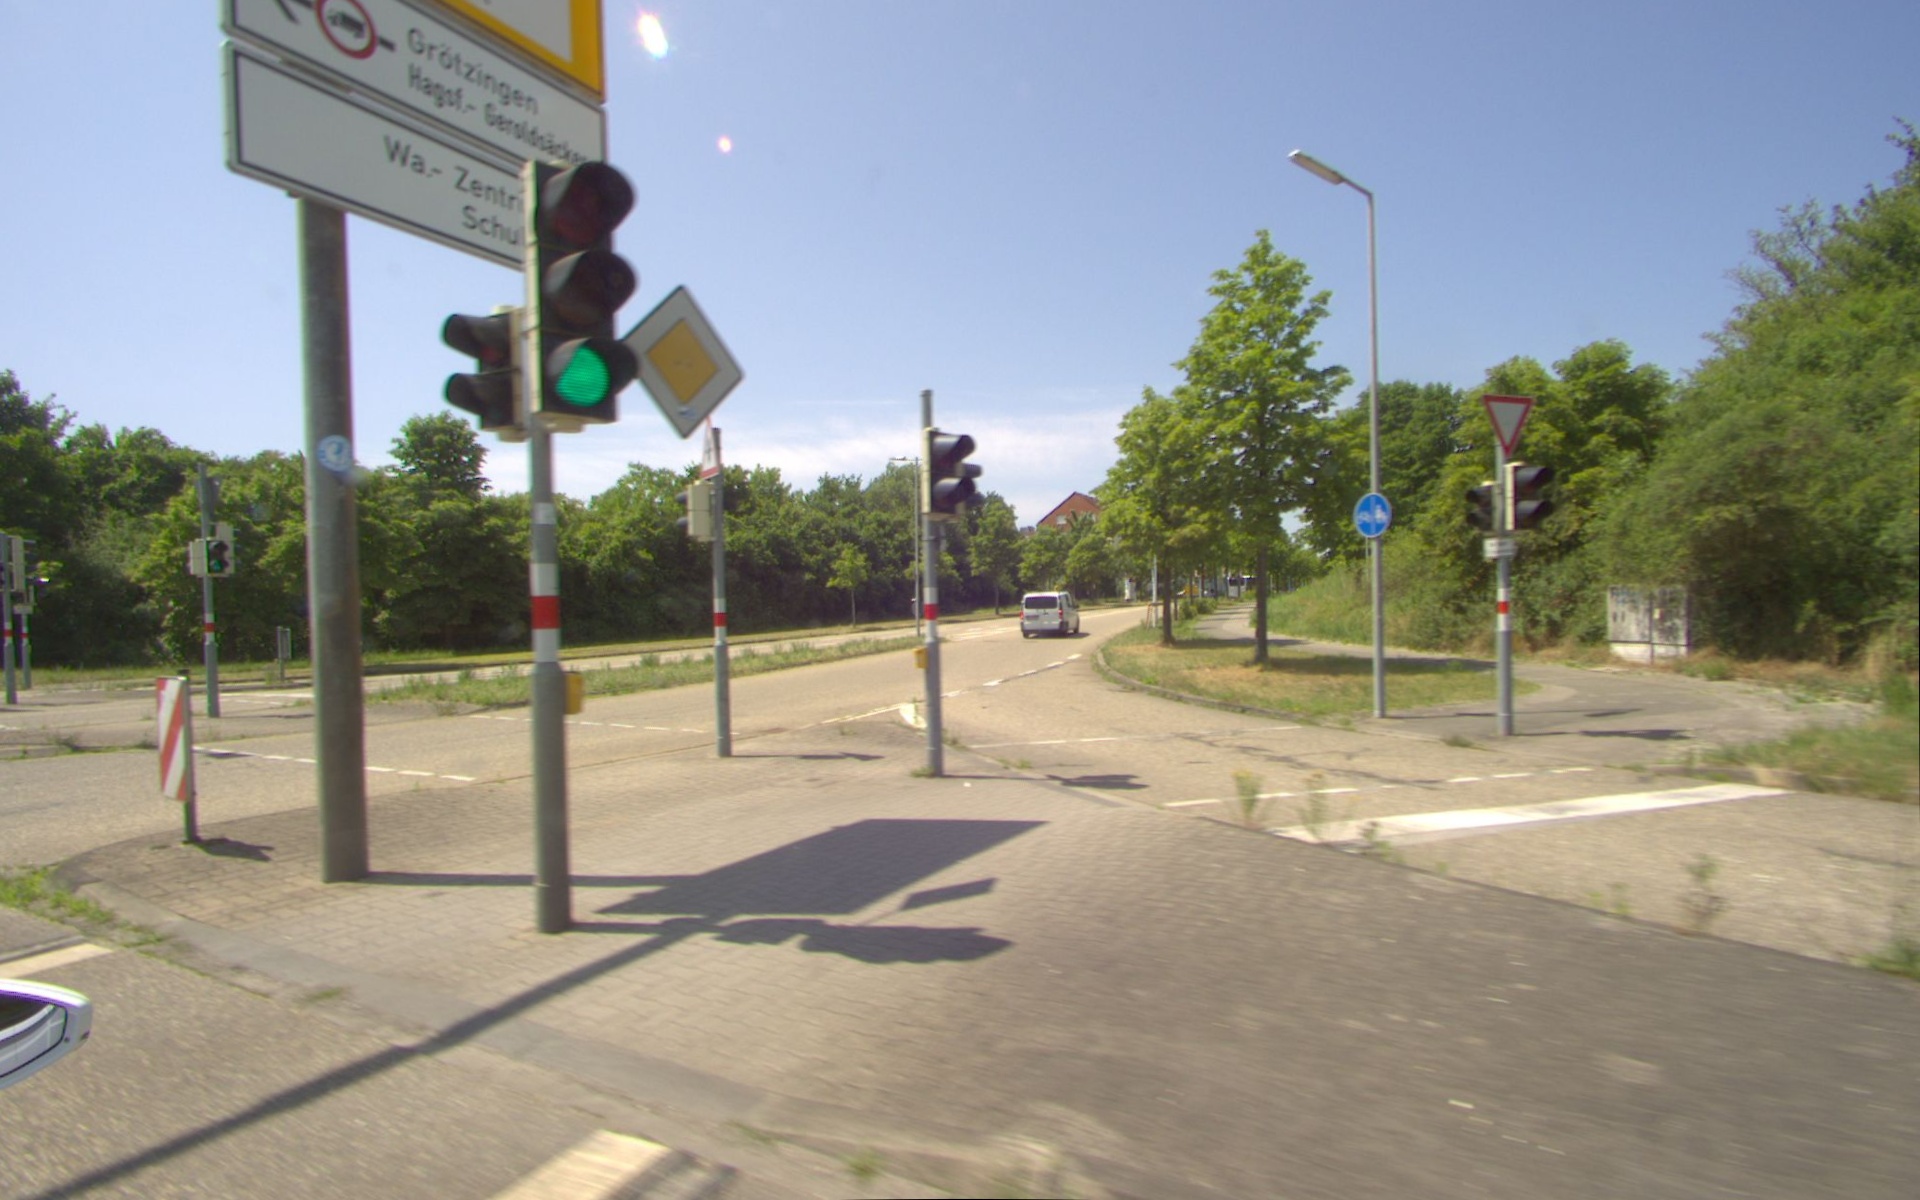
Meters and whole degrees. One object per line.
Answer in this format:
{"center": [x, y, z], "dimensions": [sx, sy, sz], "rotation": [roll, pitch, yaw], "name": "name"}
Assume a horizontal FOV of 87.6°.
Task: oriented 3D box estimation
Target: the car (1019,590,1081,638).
{"center": [3.897, 0.556, 42.556], "dimensions": [1.832, 1.843, 4.900], "rotation": [0, 1, 15], "name": "car"}

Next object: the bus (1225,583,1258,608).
{"center": [37.748, -0.571, 133.815], "dimensions": [2.588, 3.127, 12.044], "rotation": [-1, -1, 24], "name": "bus"}
